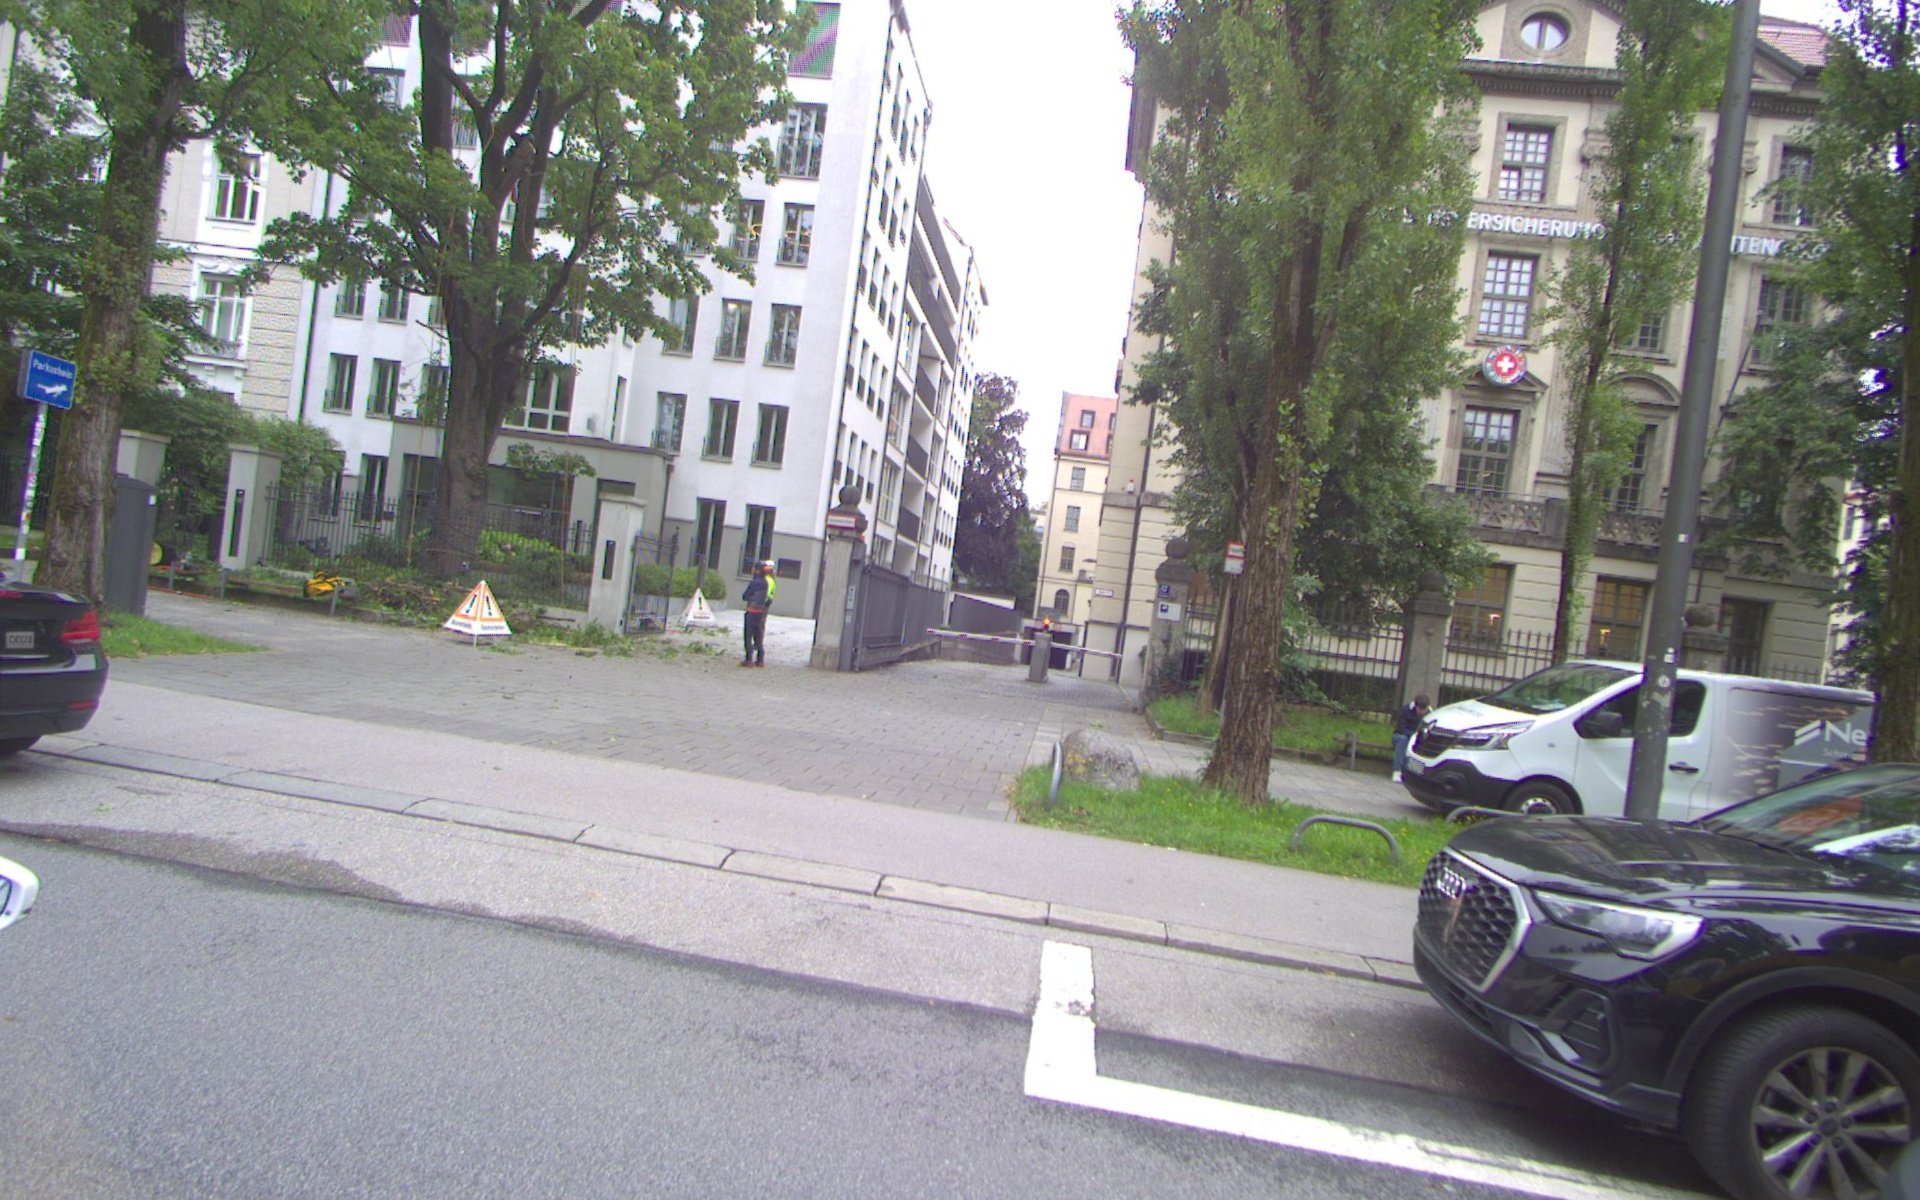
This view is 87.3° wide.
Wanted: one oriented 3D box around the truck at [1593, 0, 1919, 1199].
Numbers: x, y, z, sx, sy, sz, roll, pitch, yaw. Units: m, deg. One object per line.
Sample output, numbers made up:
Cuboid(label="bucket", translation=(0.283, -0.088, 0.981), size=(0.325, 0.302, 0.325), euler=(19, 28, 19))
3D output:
Cuboid(label="truck", translation=(5.151, 0.698, 0.984), size=(7.194, 2.933, 2.336), euler=(8, 0, 5))

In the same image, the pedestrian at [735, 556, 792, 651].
Cuboid(label="pedestrian", translation=(-4.156, 0.071, 21.320), size=(0.819, 1.877, 0.773), euler=(7, 1, 1))

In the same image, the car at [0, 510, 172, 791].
Cuboid(label="car", translation=(-6.640, 0.005, 5.158), size=(3.924, 1.370, 1.754), euler=(8, -1, 8))

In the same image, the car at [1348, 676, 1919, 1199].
Cuboid(label="car", translation=(3.945, 1.364, 3.728), size=(4.241, 1.513, 1.732), euler=(8, 0, 7))

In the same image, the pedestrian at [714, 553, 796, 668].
Cuboid(label="pedestrian", translation=(-3.593, 0.196, 17.683), size=(0.761, 1.889, 0.937), euler=(8, 1, 35))

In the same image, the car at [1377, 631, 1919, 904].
Cuboid(label="car", translation=(7.426, 1.639, 10.382), size=(5.223, 1.948, 2.001), euler=(8, 0, 6))

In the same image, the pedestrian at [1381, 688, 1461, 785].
Cuboid(label="pedestrian", translation=(6.239, 1.831, 13.649), size=(0.712, 1.155, 0.703), euler=(7, 0, 12))
